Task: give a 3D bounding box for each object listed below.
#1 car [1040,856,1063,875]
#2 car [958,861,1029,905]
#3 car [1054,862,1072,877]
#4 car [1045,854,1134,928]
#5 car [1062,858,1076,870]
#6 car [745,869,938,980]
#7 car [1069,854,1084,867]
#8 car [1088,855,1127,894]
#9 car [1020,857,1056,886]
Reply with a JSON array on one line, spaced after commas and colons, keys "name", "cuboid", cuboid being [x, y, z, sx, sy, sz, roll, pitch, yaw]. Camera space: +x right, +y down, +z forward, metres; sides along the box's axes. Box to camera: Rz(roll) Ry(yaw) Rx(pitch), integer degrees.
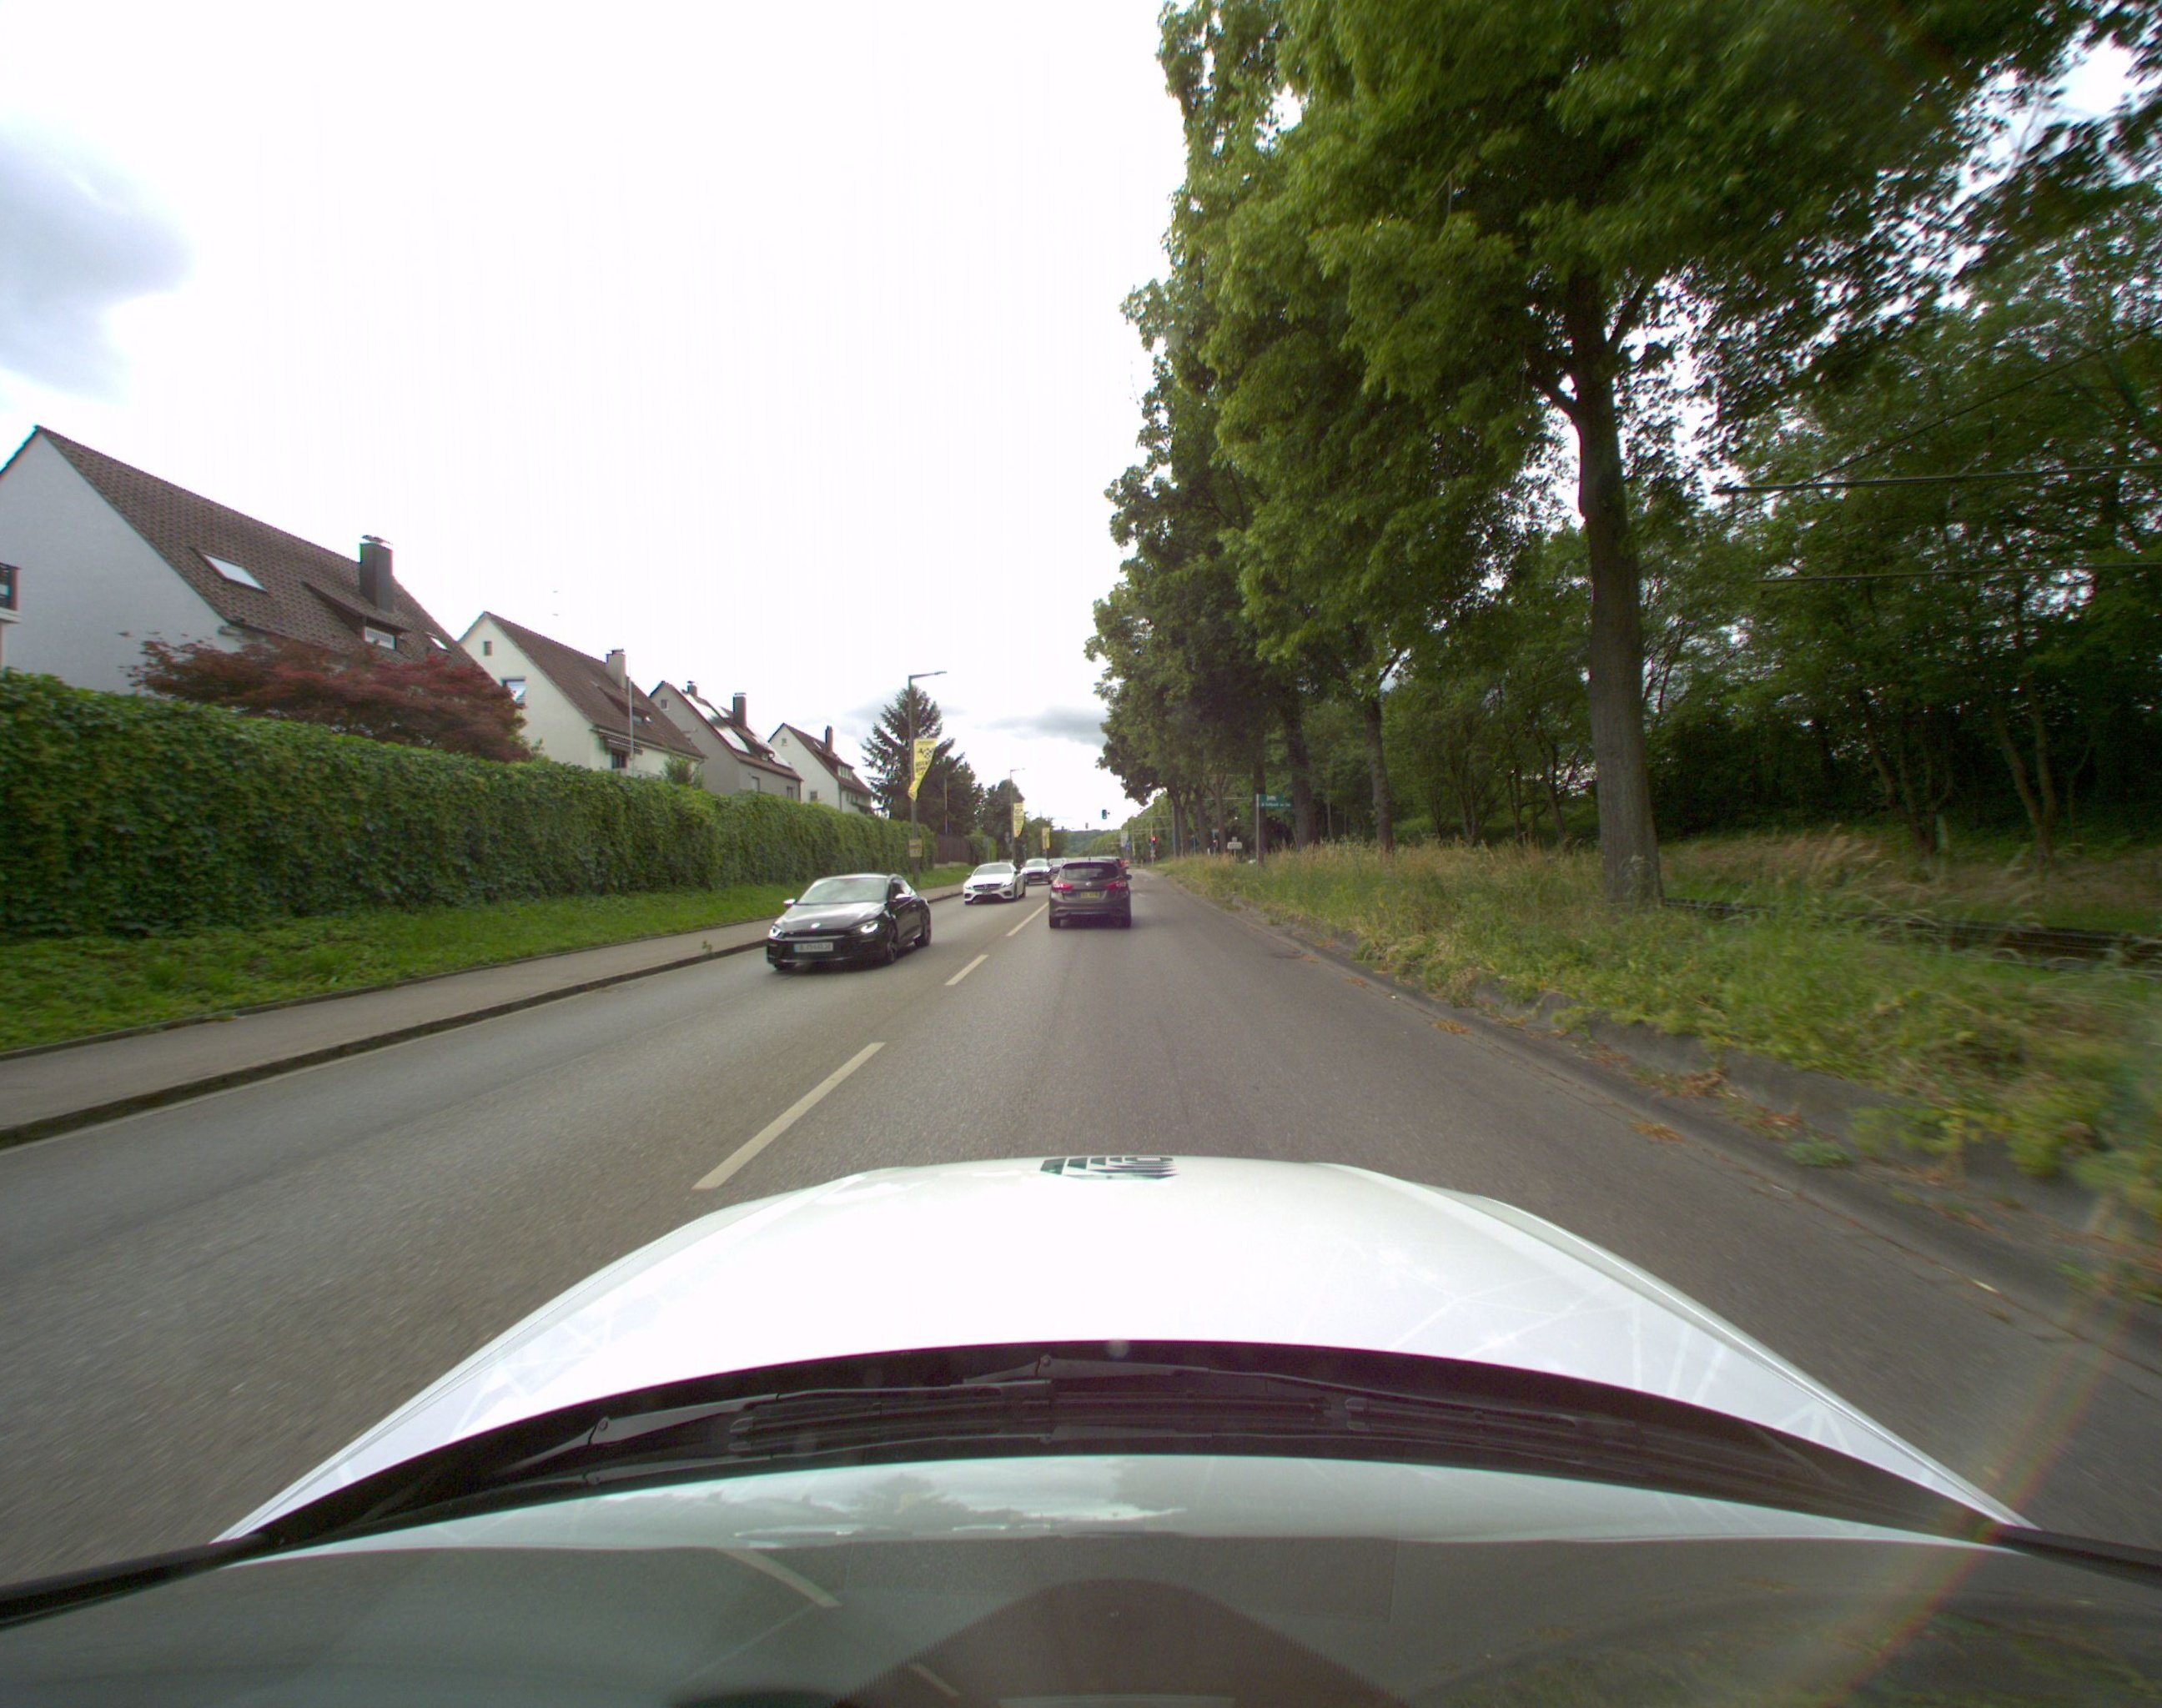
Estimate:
[{"name": "car", "cuboid": [-2.557, 0.999, 72.233, 1.722, 1.464, 4.154, -3, 0, 1]}, {"name": "car", "cuboid": [-3.203, 1.017, 30.550, 1.878, 1.383, 4.494, -3, 0, 3]}, {"name": "car", "cuboid": [-1.939, 1.656, 88.401, 1.612, 1.461, 4.074, -5, 0, 2]}, {"name": "car", "cuboid": [0.251, 0.770, 19.058, 1.828, 1.519, 4.485, 0, 0, 2]}, {"name": "car", "cuboid": [-1.619, 1.401, 112.053, 1.806, 1.524, 4.176, -4, 0, 0]}, {"name": "car", "cuboid": [-3.652, 1.001, 13.321, 1.644, 1.348, 4.479, -3, 0, 2]}, {"name": "car", "cuboid": [-0.522, 0.755, 98.387, 1.637, 1.481, 4.107, -4, 0, 0]}, {"name": "car", "cuboid": [1.122, 0.810, 34.388, 1.533, 1.478, 3.766, -2, 0, 2]}, {"name": "car", "cuboid": [-2.487, 1.001, 47.982, 1.745, 1.518, 4.001, -3, 0, 1]}]
